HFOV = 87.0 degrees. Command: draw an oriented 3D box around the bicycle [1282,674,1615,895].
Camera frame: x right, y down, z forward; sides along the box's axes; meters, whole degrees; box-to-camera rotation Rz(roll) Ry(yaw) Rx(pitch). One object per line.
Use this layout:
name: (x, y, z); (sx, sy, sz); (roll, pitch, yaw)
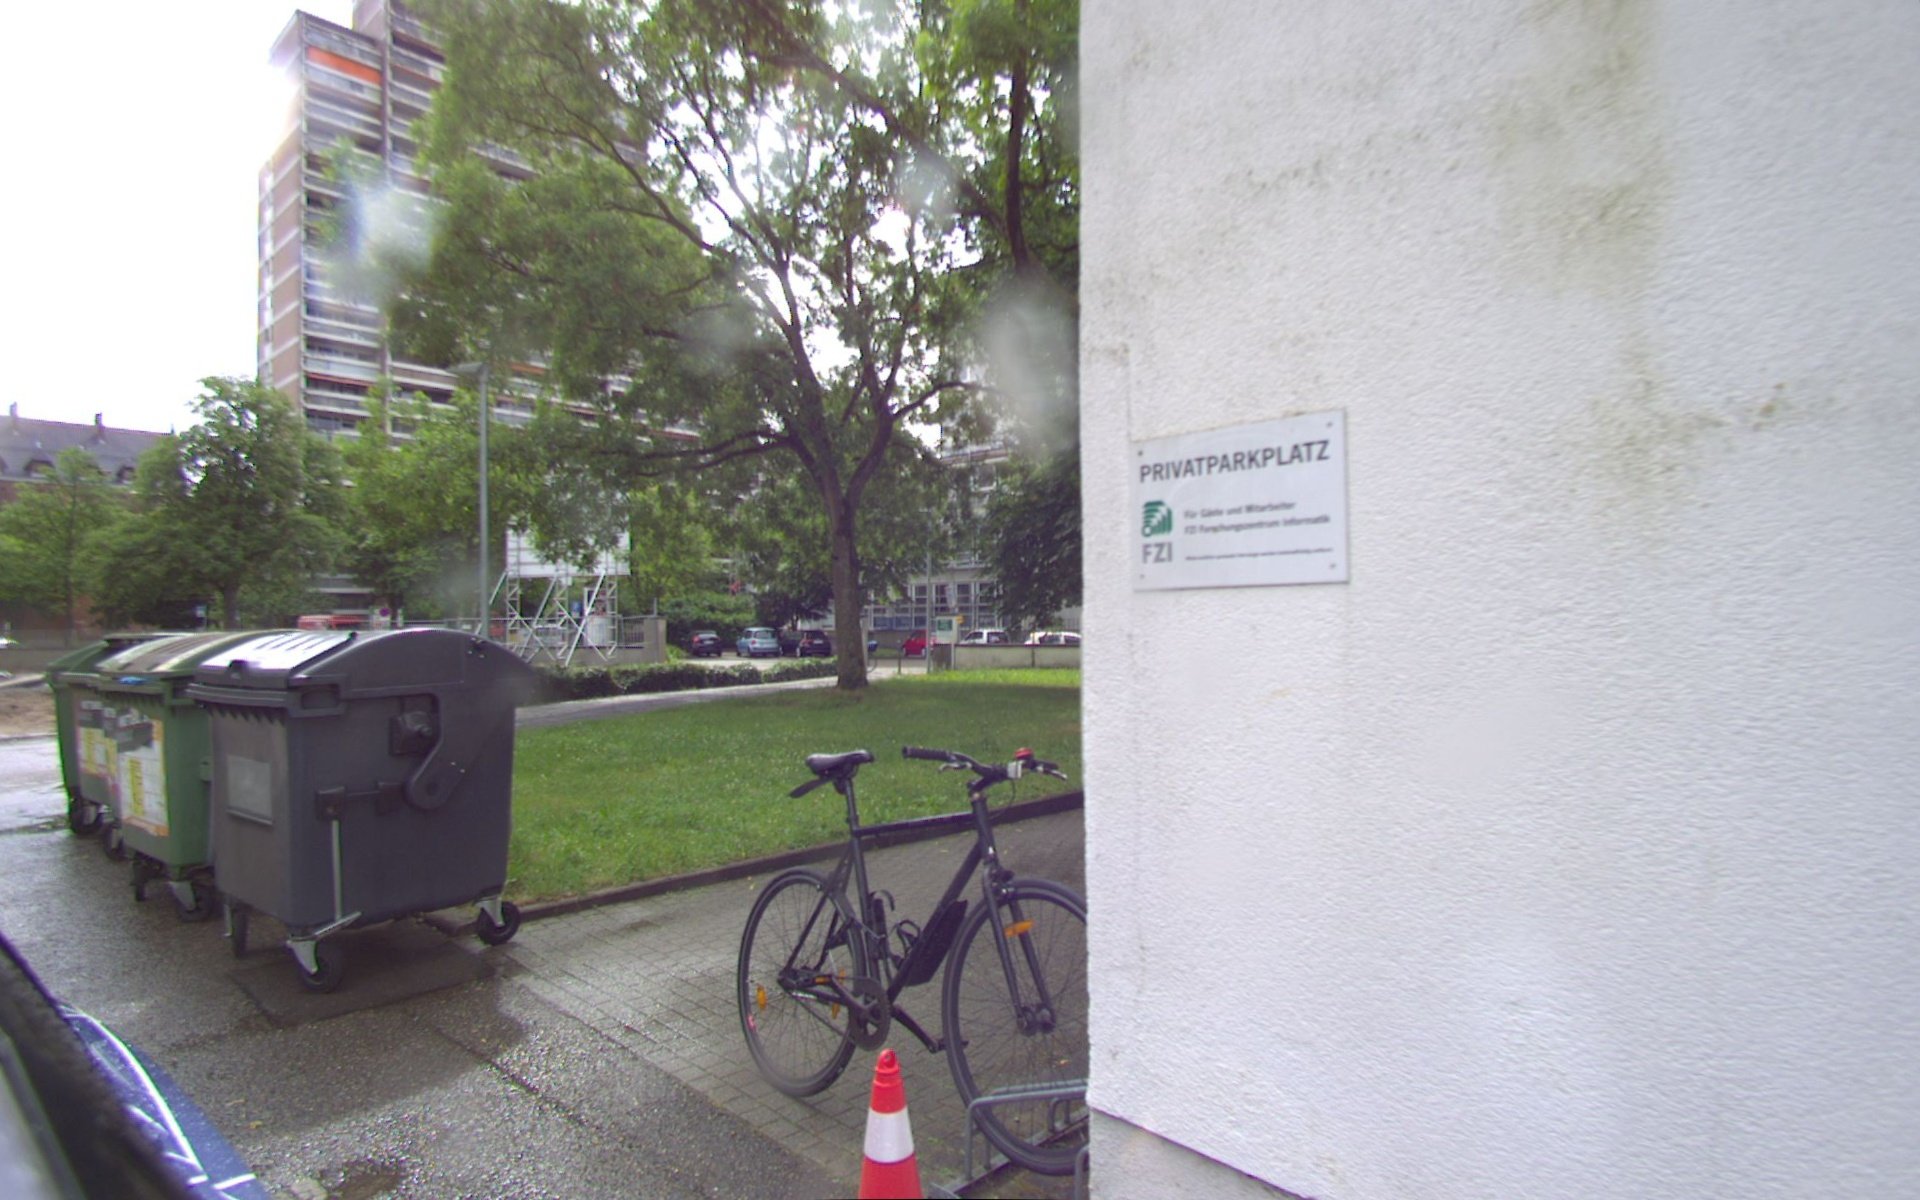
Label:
bicycle: (3.006, 1.067, 6.372); (1.788, 1.124, 0.608); (-1, -3, 44)

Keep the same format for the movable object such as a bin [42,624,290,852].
movable object such as a bin: (-5.978, 0.964, 7.622); (1.400, 1.494, 1.153); (-4, -3, 37)

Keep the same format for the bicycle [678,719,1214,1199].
bicycle: (-0.115, 0.969, 2.857); (1.520, 1.124, 0.608); (-1, -3, 44)

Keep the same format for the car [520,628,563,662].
car: (-24.432, 2.587, 58.999); (1.904, 1.911, 4.660); (1, -2, -27)

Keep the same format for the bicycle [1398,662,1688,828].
bicycle: (4.608, 1.088, 8.119); (1.927, 1.124, 0.608); (-1, -3, 44)

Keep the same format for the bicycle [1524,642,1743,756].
bicycle: (7.395, 1.042, 11.186); (1.927, 1.124, 0.608); (-1, -3, 44)

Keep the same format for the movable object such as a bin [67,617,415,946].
movable object such as a bin: (-3.943, 0.860, 5.556); (1.495, 1.494, 1.153); (-1, -3, 39)

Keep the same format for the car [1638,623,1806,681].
car: (21.711, 1.480, 28.994); (3.343, 1.563, 1.903); (-1, -3, 18)

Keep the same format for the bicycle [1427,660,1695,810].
bicycle: (5.200, 1.114, 8.862); (1.927, 1.124, 0.608); (-1, -3, 44)

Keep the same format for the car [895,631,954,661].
car: (-1.854, 2.381, 52.652); (1.712, 1.481, 3.418); (2, -3, -28)

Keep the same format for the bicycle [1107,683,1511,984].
bicycle: (1.632, 1.015, 4.965); (1.788, 1.124, 0.608); (-1, -3, 44)

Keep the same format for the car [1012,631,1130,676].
car: (3.795, 1.836, 34.590); (3.798, 1.471, 1.681); (-1, -3, 16)

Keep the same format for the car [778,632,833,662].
car: (-8.211, 2.466, 53.594); (1.712, 1.481, 3.661); (0, -2, -29)

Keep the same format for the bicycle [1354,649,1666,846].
bicycle: (3.981, 1.000, 7.456); (1.927, 1.234, 0.608); (-1, -3, 44)

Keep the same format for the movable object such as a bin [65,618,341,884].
movable object such as a bin: (-4.959, 0.888, 6.633); (1.401, 1.494, 1.153); (-3, -2, 39)

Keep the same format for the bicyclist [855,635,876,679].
bicyclist: (-3.556, 2.158, 38.206); (0.662, 1.630, 0.647); (0, -4, -16)

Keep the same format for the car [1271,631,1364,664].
car: (16.652, 2.230, 47.303); (1.747, 1.465, 3.893); (1, -4, -29)

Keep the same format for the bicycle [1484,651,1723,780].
bicycle: (6.375, 1.099, 10.105); (1.927, 1.124, 0.608); (-1, -3, 44)

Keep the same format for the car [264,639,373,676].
car: (-27.712, 2.490, 43.747); (3.965, 1.482, 1.879); (-2, -4, 17)

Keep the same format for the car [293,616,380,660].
car: (-38.584, 2.345, 62.624); (5.461, 2.654, 2.278); (-1, -3, 30)

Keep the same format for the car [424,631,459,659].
car: (-31.570, 2.707, 61.587); (1.755, 1.577, 4.059); (0, 0, -30)

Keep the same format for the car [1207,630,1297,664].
car: (13.672, 2.232, 47.529); (1.791, 1.465, 3.893); (1, -4, -29)

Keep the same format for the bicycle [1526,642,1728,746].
bicycle: (7.892, 1.072, 12.042); (1.927, 1.124, 0.608); (-1, -3, 44)

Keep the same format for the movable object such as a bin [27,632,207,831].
movable object such as a bin: (-7.130, 1.034, 8.658); (1.086, 1.484, 1.489); (-1, -1, -36)

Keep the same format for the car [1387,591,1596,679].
car: (15.972, 1.096, 30.776); (5.226, 2.529, 2.129); (-1, -4, 16)

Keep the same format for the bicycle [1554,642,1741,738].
bicycle: (8.851, 1.122, 13.090); (1.927, 1.124, 0.608); (-1, -3, 44)

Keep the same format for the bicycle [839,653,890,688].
bicycle: (-3.603, 2.659, 38.157); (1.837, 1.276, 0.647); (0, -4, -16)

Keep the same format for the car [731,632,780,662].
car: (-11.115, 2.528, 54.828); (1.679, 1.563, 3.661); (0, -2, -28)

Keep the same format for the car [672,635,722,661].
car: (-14.700, 2.655, 56.459); (1.739, 1.408, 3.661); (0, -2, -30)

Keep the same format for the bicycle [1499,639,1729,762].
bicycle: (6.876, 1.030, 10.726); (1.927, 1.186, 0.608); (-4, -4, 44)

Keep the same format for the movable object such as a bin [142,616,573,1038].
movable object such as a bin: (-2.727, 0.841, 4.574); (1.592, 1.494, 1.153); (-1, -3, 39)

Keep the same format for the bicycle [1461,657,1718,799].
bicycle: (5.748, 1.116, 9.332); (1.927, 1.124, 0.608); (-1, -3, 44)

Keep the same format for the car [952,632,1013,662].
car: (1.108, 2.351, 51.275); (1.681, 1.463, 3.419); (0, -2, -26)
